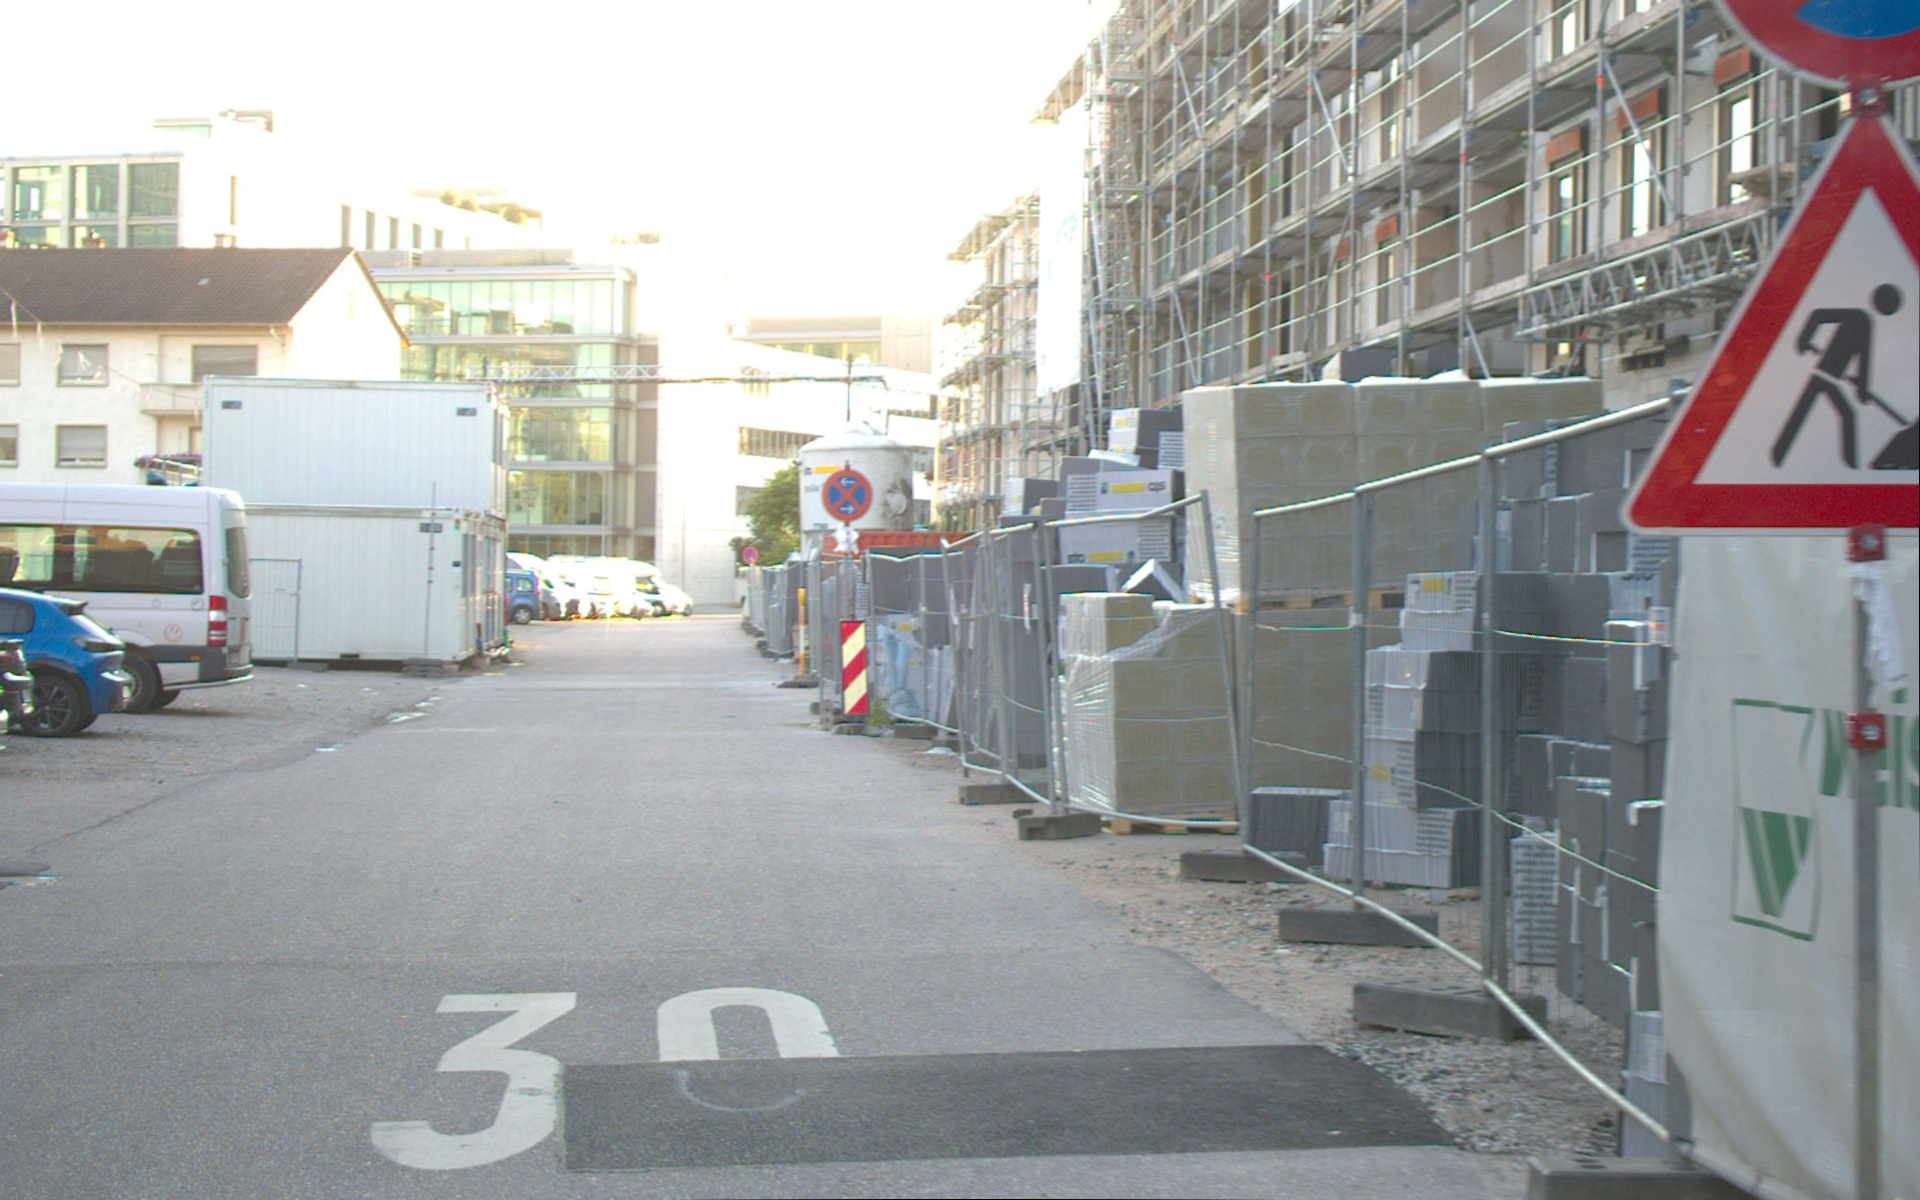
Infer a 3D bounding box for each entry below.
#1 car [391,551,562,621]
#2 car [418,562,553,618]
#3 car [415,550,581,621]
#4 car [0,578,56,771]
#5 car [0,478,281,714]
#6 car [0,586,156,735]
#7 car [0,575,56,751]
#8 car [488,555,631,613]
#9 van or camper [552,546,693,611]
[{"bbox_3d":[-18.500,-0.540,131.715,6.327,2.642,2.000,0,0,-4],"label":"car"},{"bbox_3d":[-16.269,-0.341,117.777,4.502,1.862,2.001,0,0,-10],"label":"car"},{"bbox_3d":[-18.190,-0.578,135.560,6.327,2.732,2.000,0,0,-4],"label":"car"},{"bbox_3d":[-10.225,0.494,28.306,4.993,1.539,2.116,3,0,-2],"label":"car"},{"bbox_3d":[-11.029,-0.092,40.310,5.688,2.617,2.222,2,0,-3],"label":"car"},{"bbox_3d":[-10.128,0.560,34.437,3.836,1.424,1.728,2,0,-7],"label":"car"},{"bbox_3d":[-10.489,0.491,30.794,4.415,1.539,1.728,2,0,-8],"label":"car"},{"bbox_3d":[-17.600,-0.721,151.095,5.925,2.481,1.999,0,0,7],"label":"car"},{"bbox_3d":[-16.143,-1.015,164.653,6.335,2.969,2.292,1,0,8],"label":"van or camper"}]
